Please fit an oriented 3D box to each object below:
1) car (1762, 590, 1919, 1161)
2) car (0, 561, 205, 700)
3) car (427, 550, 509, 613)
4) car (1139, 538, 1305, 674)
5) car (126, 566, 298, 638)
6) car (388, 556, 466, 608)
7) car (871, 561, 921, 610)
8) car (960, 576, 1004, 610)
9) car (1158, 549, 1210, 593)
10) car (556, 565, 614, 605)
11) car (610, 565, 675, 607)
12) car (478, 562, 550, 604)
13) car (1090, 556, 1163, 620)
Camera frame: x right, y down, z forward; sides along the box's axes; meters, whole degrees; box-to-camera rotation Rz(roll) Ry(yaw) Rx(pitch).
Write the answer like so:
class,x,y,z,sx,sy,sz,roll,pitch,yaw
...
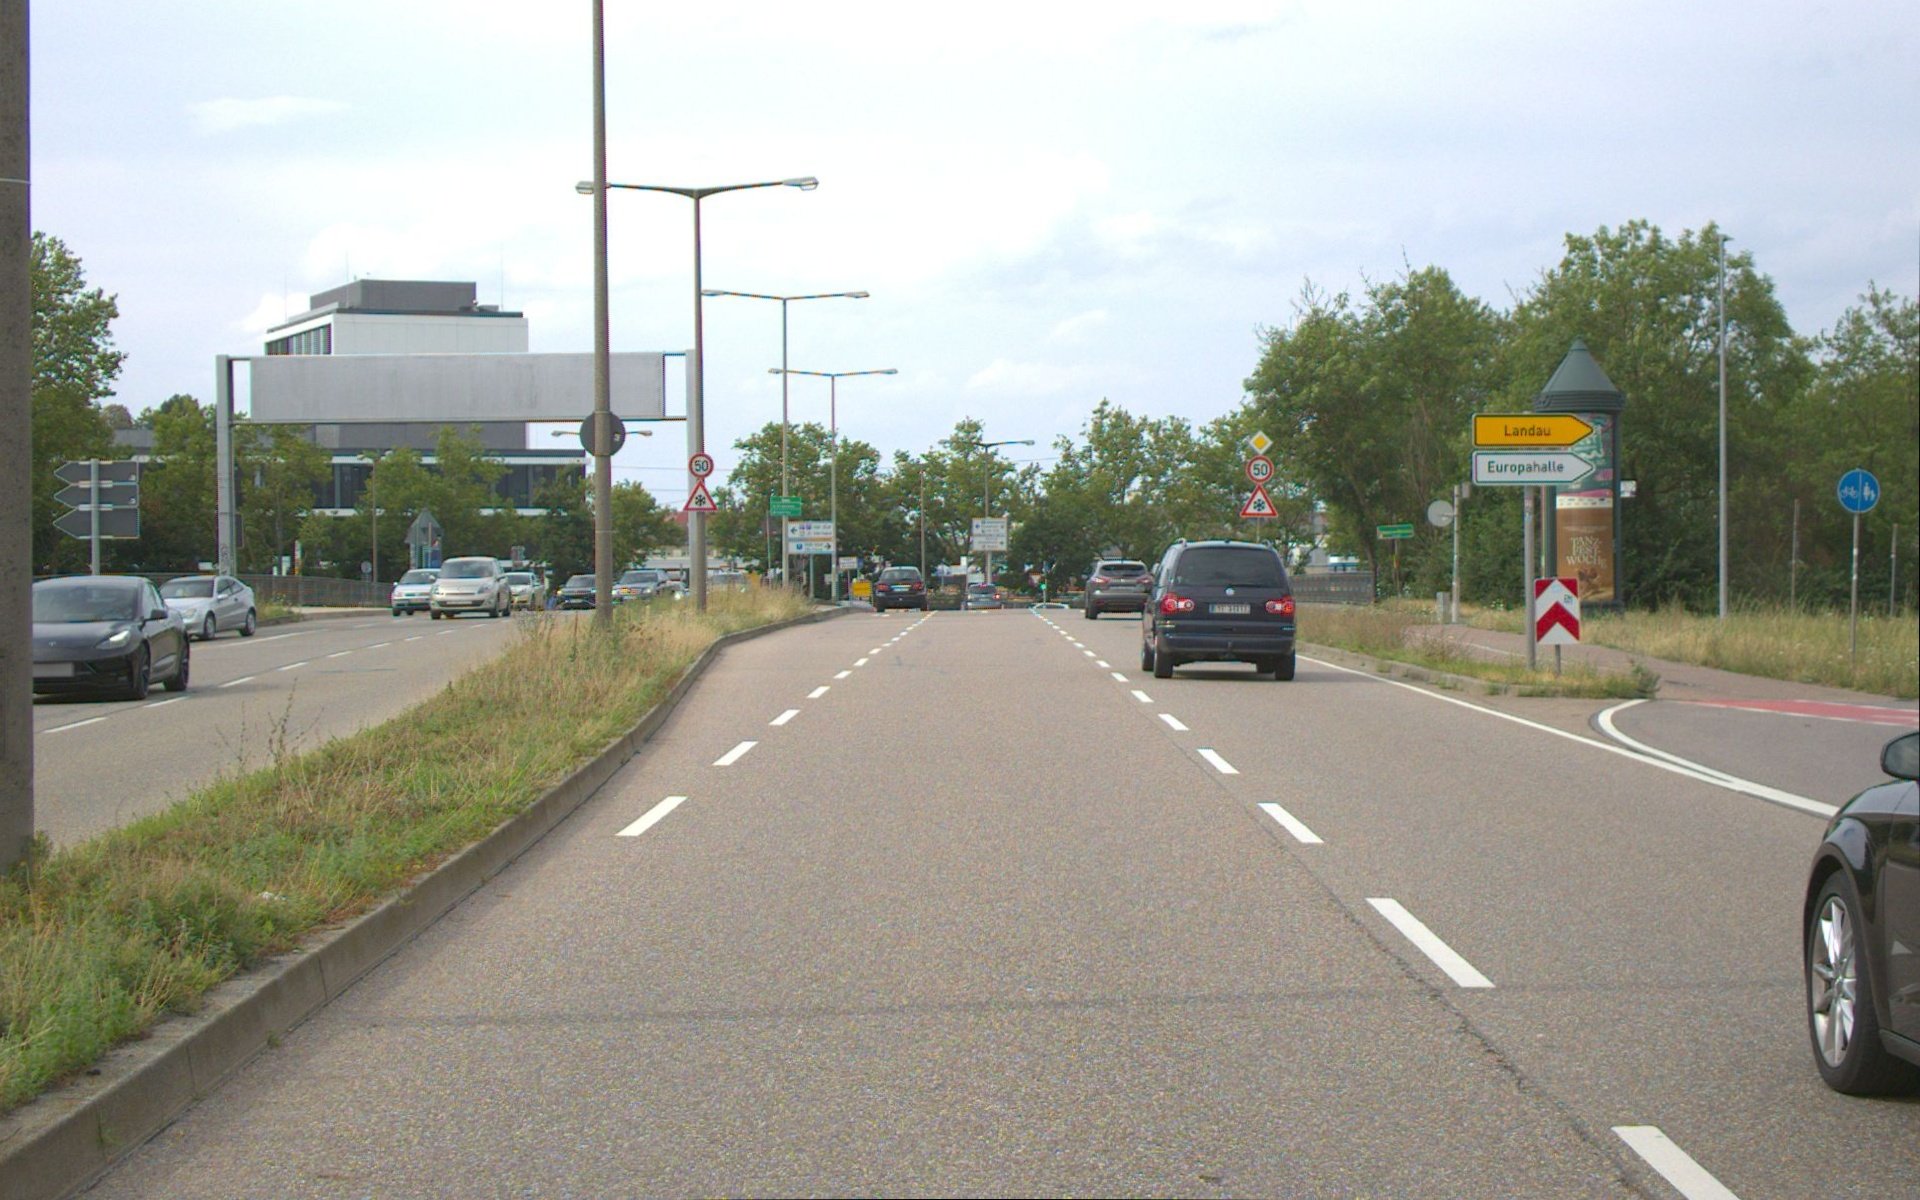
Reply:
class,x,y,z,sx,sy,sz,roll,pitch,yaw
car,3.262,0.719,8.039,1.730,1.390,4.115,1,1,-1
car,-10.218,0.313,40.462,1.745,1.470,4.565,-1,1,-2
car,-13.227,-0.523,92.636,1.745,1.593,4.566,-1,1,-3
car,3.291,0.039,43.813,1.730,1.647,4.115,1,1,-1
car,-16.562,0.020,76.346,1.746,1.441,4.458,-1,1,17
car,-16.316,-0.573,105.434,1.666,1.414,4.093,-2,2,1
car,-2.260,-0.533,122.262,1.730,1.647,4.115,1,1,-1
car,1.022,-0.321,161.832,1.730,1.521,4.116,0,1,-4
car,7.685,-1.016,118.257,1.507,1.442,3.140,1,1,-1
car,-15.159,-0.605,139.023,1.793,1.520,4.594,-2,0,0
car,-11.527,-0.505,125.129,1.666,1.420,4.518,-2,0,3
car,-15.937,-0.601,122.984,1.666,1.414,4.313,-3,0,4
car,4.500,-0.345,93.368,1.730,1.647,4.115,1,1,-1
